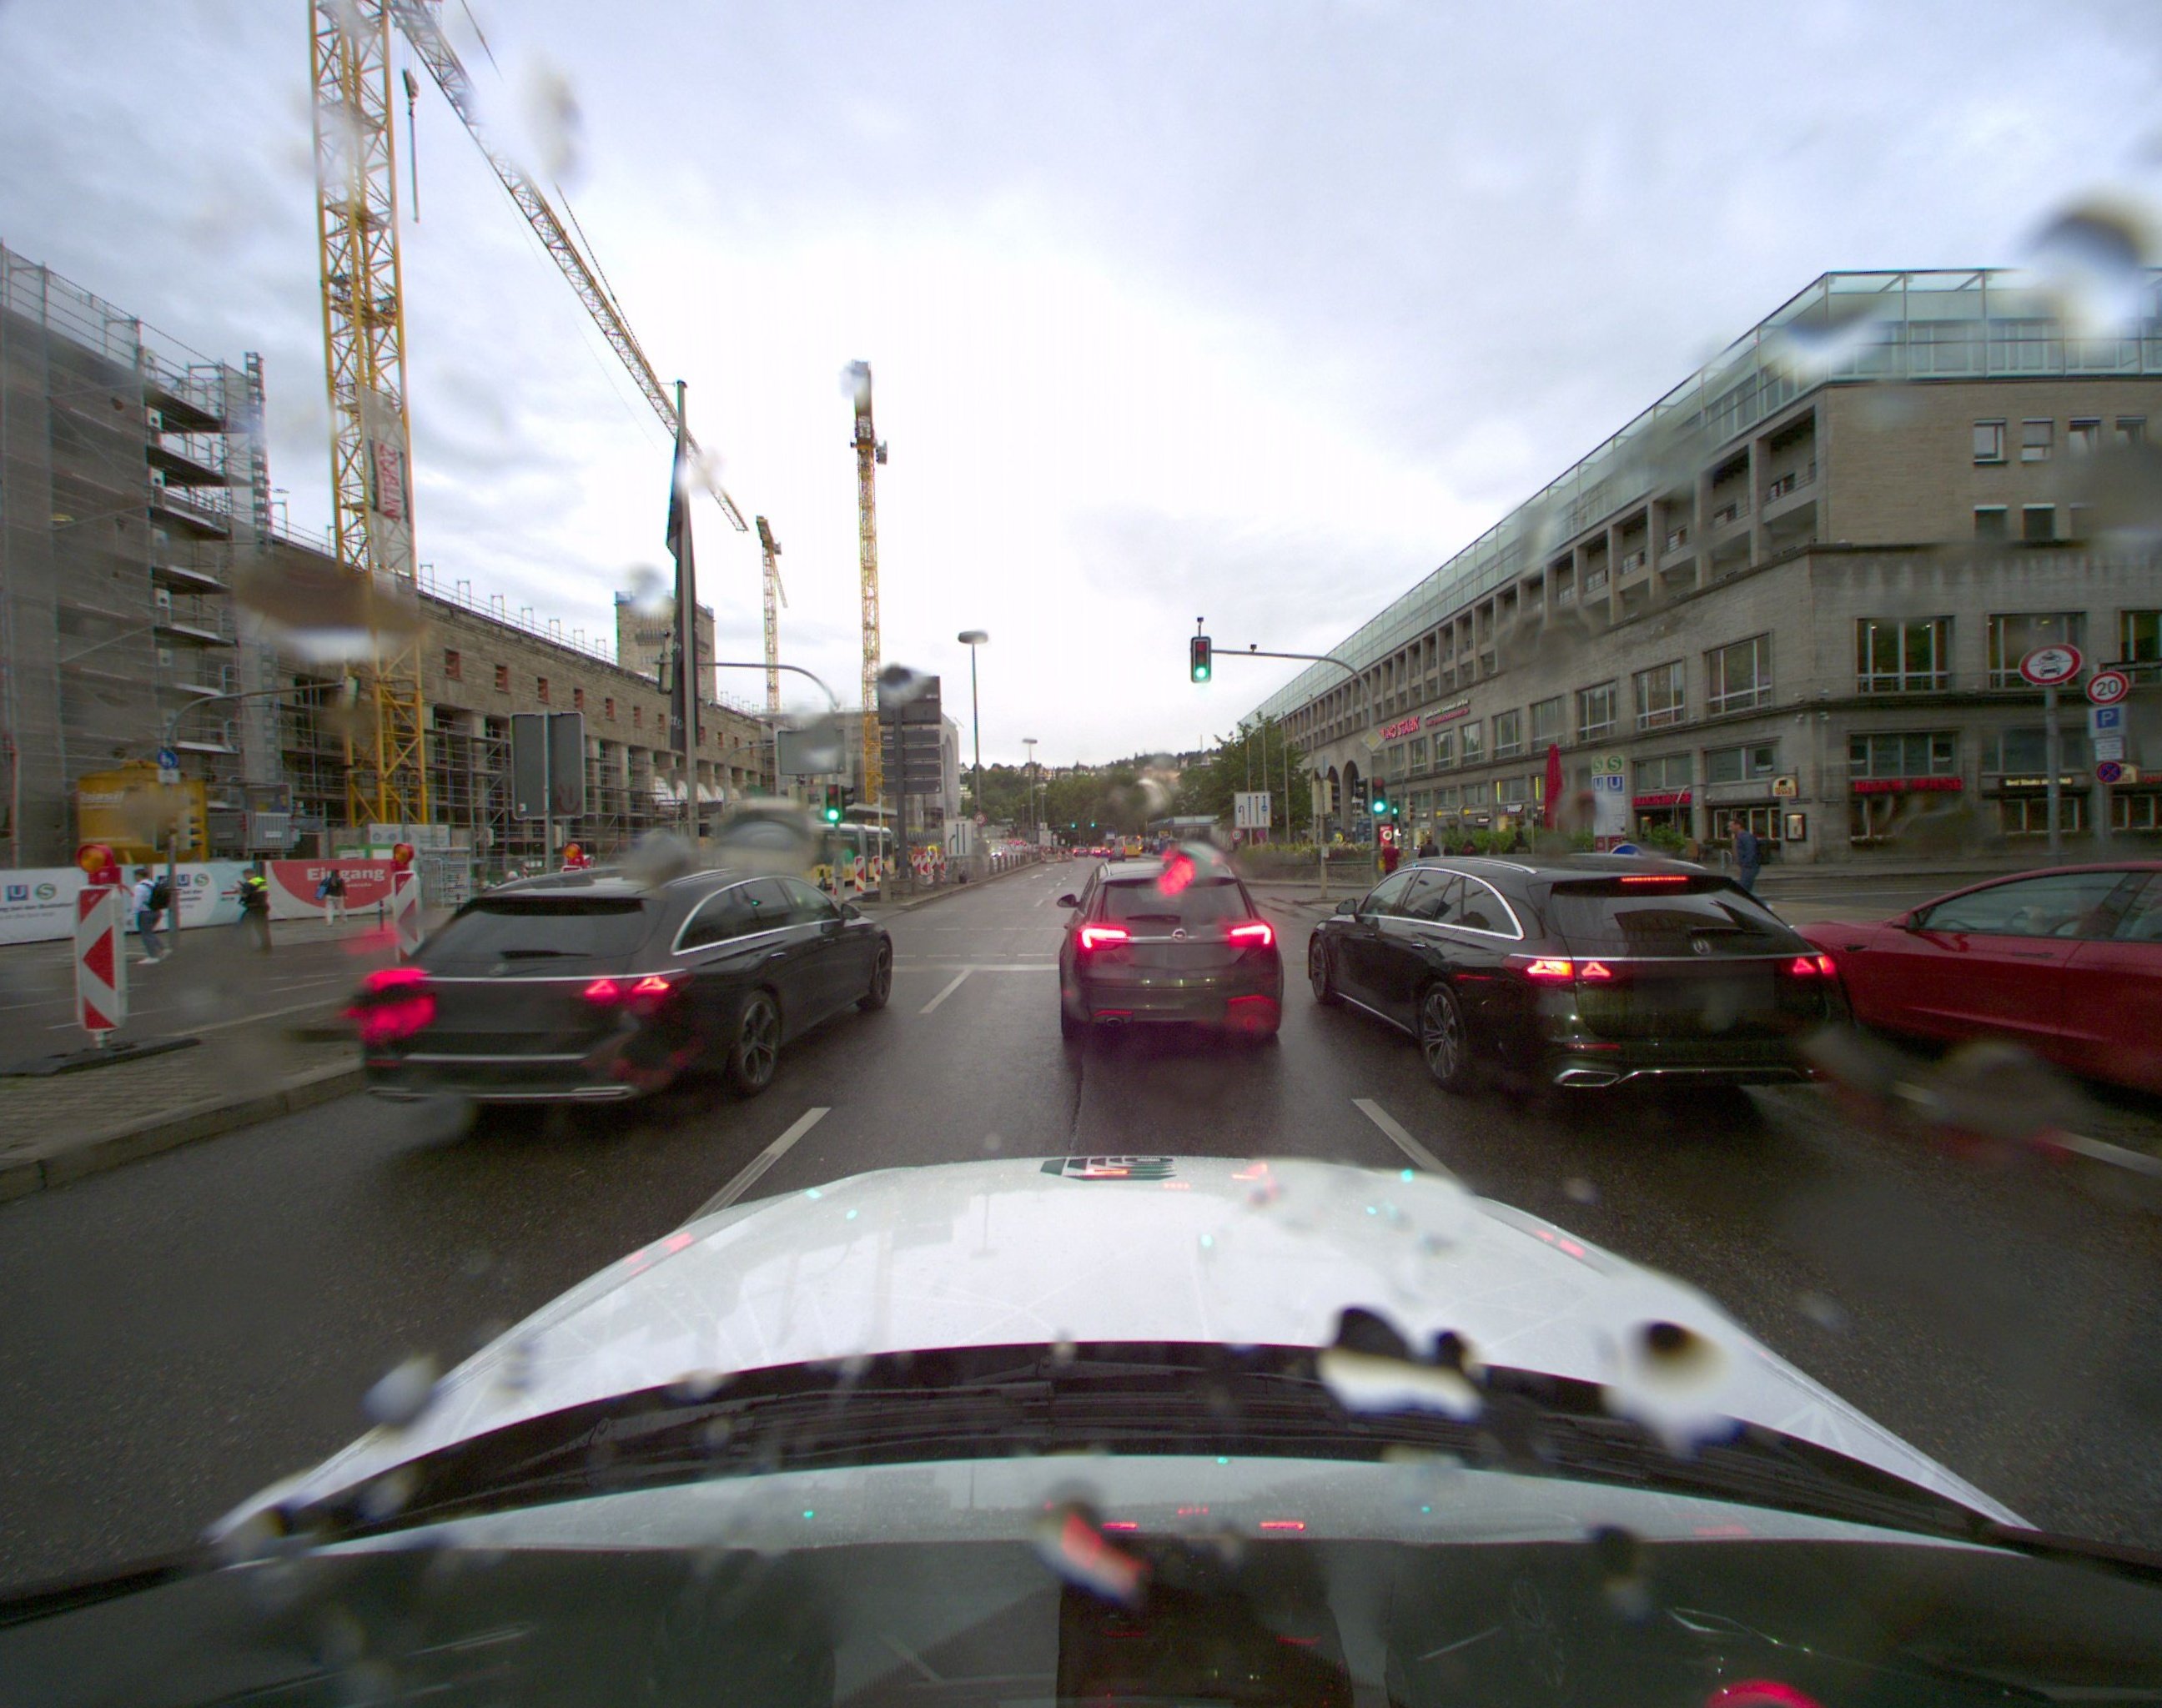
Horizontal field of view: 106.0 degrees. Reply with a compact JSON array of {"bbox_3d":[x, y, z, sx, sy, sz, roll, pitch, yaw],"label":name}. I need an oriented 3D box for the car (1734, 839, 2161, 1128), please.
[{"bbox_3d":[6.516,0.665,4.752,1.868,1.486,4.527,0,0,1],"label":"car"}]

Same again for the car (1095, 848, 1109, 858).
[{"bbox_3d":[2.994,-0.088,116.133,1.748,1.398,4.647,0,0,-1],"label":"car"}]

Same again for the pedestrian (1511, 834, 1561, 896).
[{"bbox_3d":[12.175,0.295,21.815,0.791,1.626,0.899,0,-1,-2],"label":"pedestrian"}]

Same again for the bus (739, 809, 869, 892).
[{"bbox_3d":[-13.377,-0.121,40.580,2.658,3.602,10.243,0,0,2],"label":"bus"}]

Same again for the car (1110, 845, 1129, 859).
[{"bbox_3d":[4.002,-0.208,85.107,1.838,1.398,3.668,0,0,2],"label":"car"}]

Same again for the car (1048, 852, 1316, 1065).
[{"bbox_3d":[0.756,0.744,7.712,1.868,1.486,4.001,0,0,1],"label":"car"}]

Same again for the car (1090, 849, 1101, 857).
[{"bbox_3d":[2.603,-0.228,142.554,1.839,1.398,3.565,0,0,2],"label":"car"}]

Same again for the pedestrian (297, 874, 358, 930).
[{"bbox_3d":[-21.911,1.372,23.698,0.912,1.563,0.899,0,-1,-2],"label":"pedestrian"}]

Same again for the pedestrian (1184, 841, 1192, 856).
[{"bbox_3d":[12.384,-0.660,93.999,0.761,1.690,0.824,0,-1,-3],"label":"pedestrian"}]

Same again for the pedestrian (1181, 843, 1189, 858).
[{"bbox_3d":[12.141,-0.424,95.181,0.761,1.690,0.824,0,-1,-3],"label":"pedestrian"}]

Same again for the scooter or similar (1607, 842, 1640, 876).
[{"bbox_3d":[19.369,0.192,29.096,0.290,1.189,1.014,0,-1,-17],"label":"scooter or similar"}]

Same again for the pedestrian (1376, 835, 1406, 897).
[{"bbox_3d":[8.911,0.335,23.413,0.563,1.752,0.684,-1,-1,44],"label":"pedestrian"}]

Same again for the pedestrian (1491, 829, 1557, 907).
[{"bbox_3d":[10.415,0.319,19.174,1.093,1.751,0.653,-3,-1,-1],"label":"pedestrian"}]

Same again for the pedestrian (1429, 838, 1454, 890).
[{"bbox_3d":[9.995,0.276,22.600,0.625,1.428,0.492,-1,-1,24],"label":"pedestrian"}]

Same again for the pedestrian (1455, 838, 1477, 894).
[{"bbox_3d":[10.632,0.336,22.497,0.460,1.517,0.453,-1,-1,35],"label":"pedestrian"}]

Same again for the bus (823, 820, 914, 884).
[{"bbox_3d":[-13.005,-0.070,50.902,2.658,3.602,10.215,0,0,2],"label":"bus"}]

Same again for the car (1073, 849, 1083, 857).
[{"bbox_3d":[-0.571,-0.151,151.014,1.752,1.398,3.565,0,0,2],"label":"car"}]

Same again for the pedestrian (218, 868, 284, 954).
[{"bbox_3d":[-18.069,1.219,17.744,0.576,1.836,0.820,0,-1,2],"label":"pedestrian"}]

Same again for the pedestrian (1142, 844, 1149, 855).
[{"bbox_3d":[12.525,-0.855,158.307,1.194,2.149,1.229,0,-1,3],"label":"pedestrian"}]

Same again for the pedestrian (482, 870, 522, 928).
[{"bbox_3d":[-16.249,1.232,22.847,0.791,1.561,0.864,0,-1,-44],"label":"pedestrian"}]

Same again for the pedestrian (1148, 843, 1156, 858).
[{"bbox_3d":[11.416,-0.586,131.136,1.194,2.435,1.229,0,-1,3],"label":"pedestrian"}]

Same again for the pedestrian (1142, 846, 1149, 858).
[{"bbox_3d":[11.509,-0.410,145.033,1.194,2.149,1.229,0,-1,3],"label":"pedestrian"}]

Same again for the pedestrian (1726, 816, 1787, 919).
[{"bbox_3d":[11.907,0.234,14.354,0.770,1.756,0.507,-1,-1,45],"label":"pedestrian"}]

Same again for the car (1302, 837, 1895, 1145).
[{"bbox_3d":[3.156,0.683,6.307,1.786,1.501,4.631,0,0,2],"label":"car"}]

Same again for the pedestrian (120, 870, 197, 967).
[{"bbox_3d":[-18.556,1.279,16.401,0.798,1.890,0.618,0,-1,-7],"label":"pedestrian"}]

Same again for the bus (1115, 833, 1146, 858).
[{"bbox_3d":[7.212,-1.085,120.913,4.158,3.469,14.659,0,0,2],"label":"bus"}]

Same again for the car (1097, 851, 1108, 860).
[{"bbox_3d":[3.392,0.284,129.720,1.747,1.398,4.403,0,0,1],"label":"car"}]

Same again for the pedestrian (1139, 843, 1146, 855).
[{"bbox_3d":[11.702,-0.930,155.358,1.194,2.149,1.229,0,-1,3],"label":"pedestrian"}]

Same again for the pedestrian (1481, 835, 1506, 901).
[{"bbox_3d":[11.218,0.362,22.129,0.477,1.751,0.670,-4,-1,30],"label":"pedestrian"}]

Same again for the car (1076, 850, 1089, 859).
[{"bbox_3d":[0.240,0.046,123.339,1.839,1.398,3.565,0,0,2],"label":"car"}]

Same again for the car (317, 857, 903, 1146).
[{"bbox_3d":[-2.912,0.765,6.451,1.848,1.469,4.589,0,0,2],"label":"car"}]

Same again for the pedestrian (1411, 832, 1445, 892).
[{"bbox_3d":[9.914,0.228,23.278,0.753,1.717,0.466,0,-1,-2],"label":"pedestrian"}]
